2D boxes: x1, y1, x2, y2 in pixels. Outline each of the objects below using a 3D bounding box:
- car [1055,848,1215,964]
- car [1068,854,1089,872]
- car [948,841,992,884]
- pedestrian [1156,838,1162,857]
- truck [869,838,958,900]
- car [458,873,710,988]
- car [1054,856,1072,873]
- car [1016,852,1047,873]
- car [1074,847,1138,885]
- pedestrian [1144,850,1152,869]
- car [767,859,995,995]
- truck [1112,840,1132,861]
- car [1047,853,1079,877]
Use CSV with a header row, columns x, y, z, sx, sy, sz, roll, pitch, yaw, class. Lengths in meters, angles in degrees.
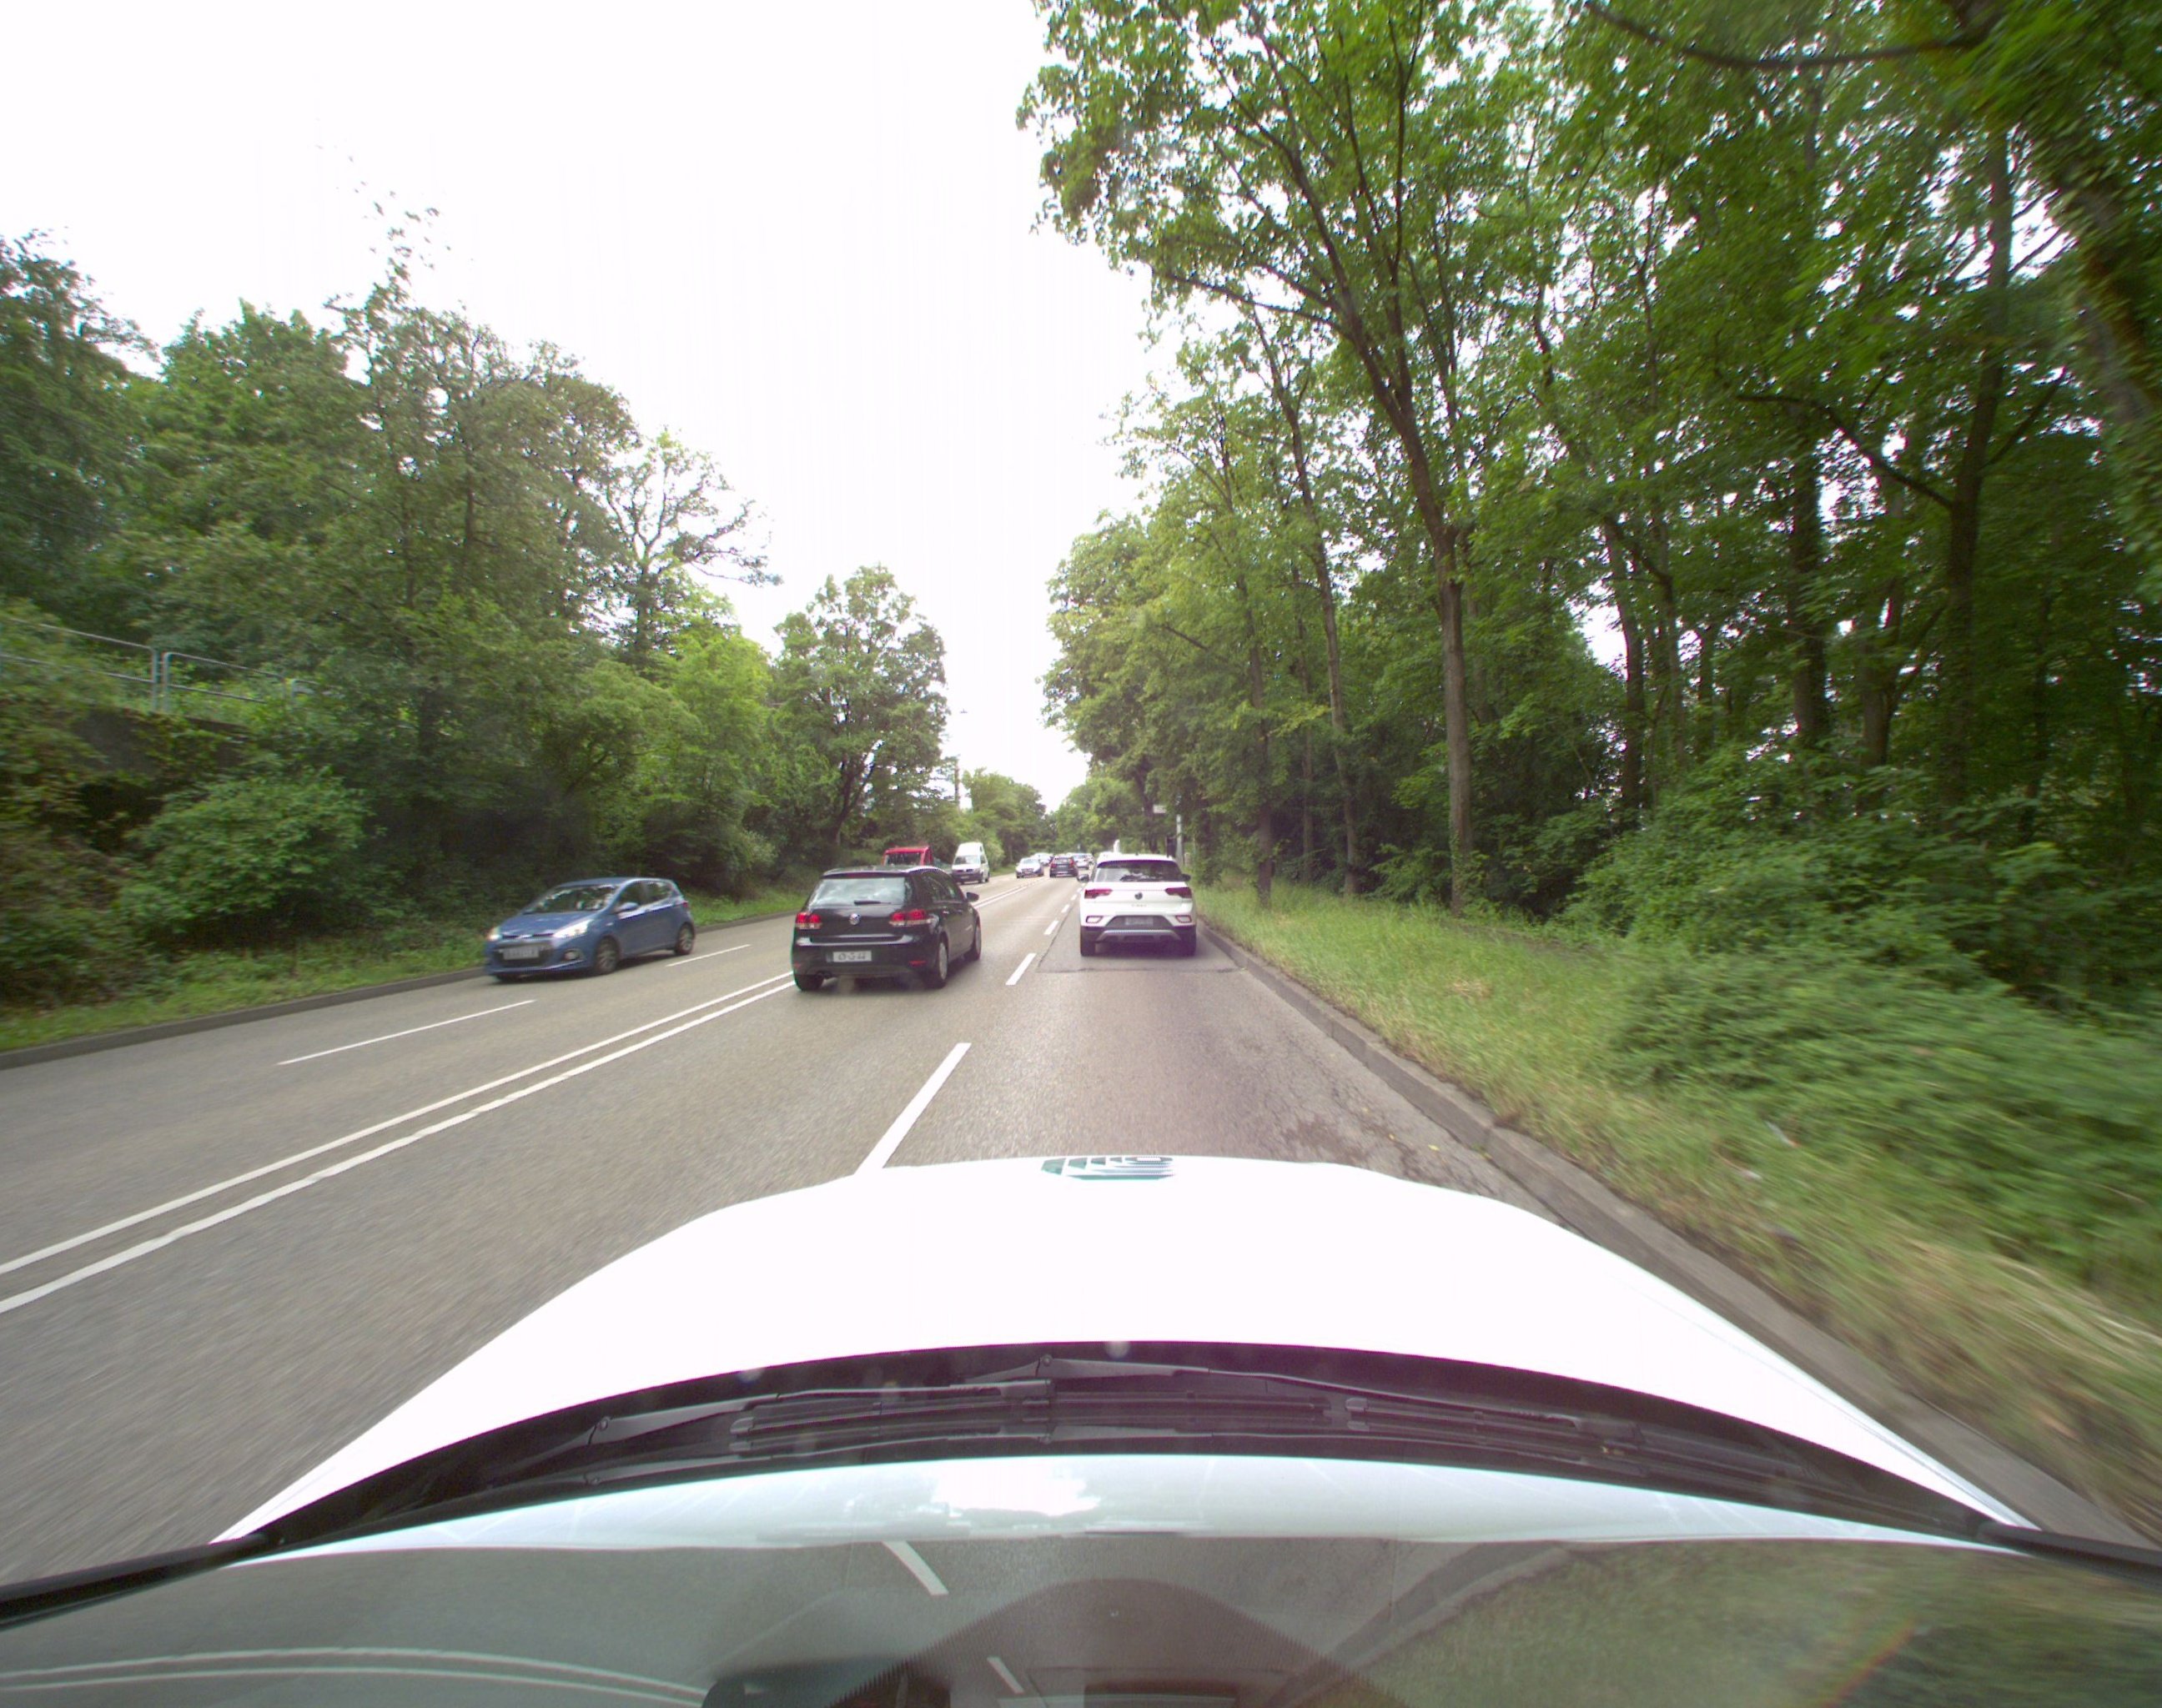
x,y,z,sx,sy,sz,roll,pitch,yaw,class
0.707,0.738,13.469,1.998,1.596,3.991,-1,0,-6,car
-0.224,0.875,79.059,1.815,1.623,4.001,-1,0,2,car
-7.059,0.525,52.181,1.880,2.556,4.917,-1,-1,2,car
7.044,-0.592,73.402,0.518,1.753,0.524,-1,-1,-2,pedestrian
-7.381,0.644,36.789,2.168,2.411,6.471,-4,-1,3,truck
-8.029,1.139,13.660,1.664,1.486,4.000,-3,-1,1,car
-2.174,1.293,99.846,1.803,1.662,4.831,-3,-4,2,car
-3.637,0.604,60.414,1.832,1.465,4.467,-1,0,2,car
1.209,0.596,41.582,1.858,1.702,3.973,-5,1,-20,car
6.003,0.477,73.076,0.607,1.698,0.548,-1,-1,-2,pedestrian
-2.399,0.815,10.894,1.942,1.466,4.001,-1,0,2,car
6.593,-0.491,131.279,2.477,3.182,7.219,-1,0,-3,truck
-1.216,0.756,56.939,1.986,1.592,4.001,-1,0,2,car
